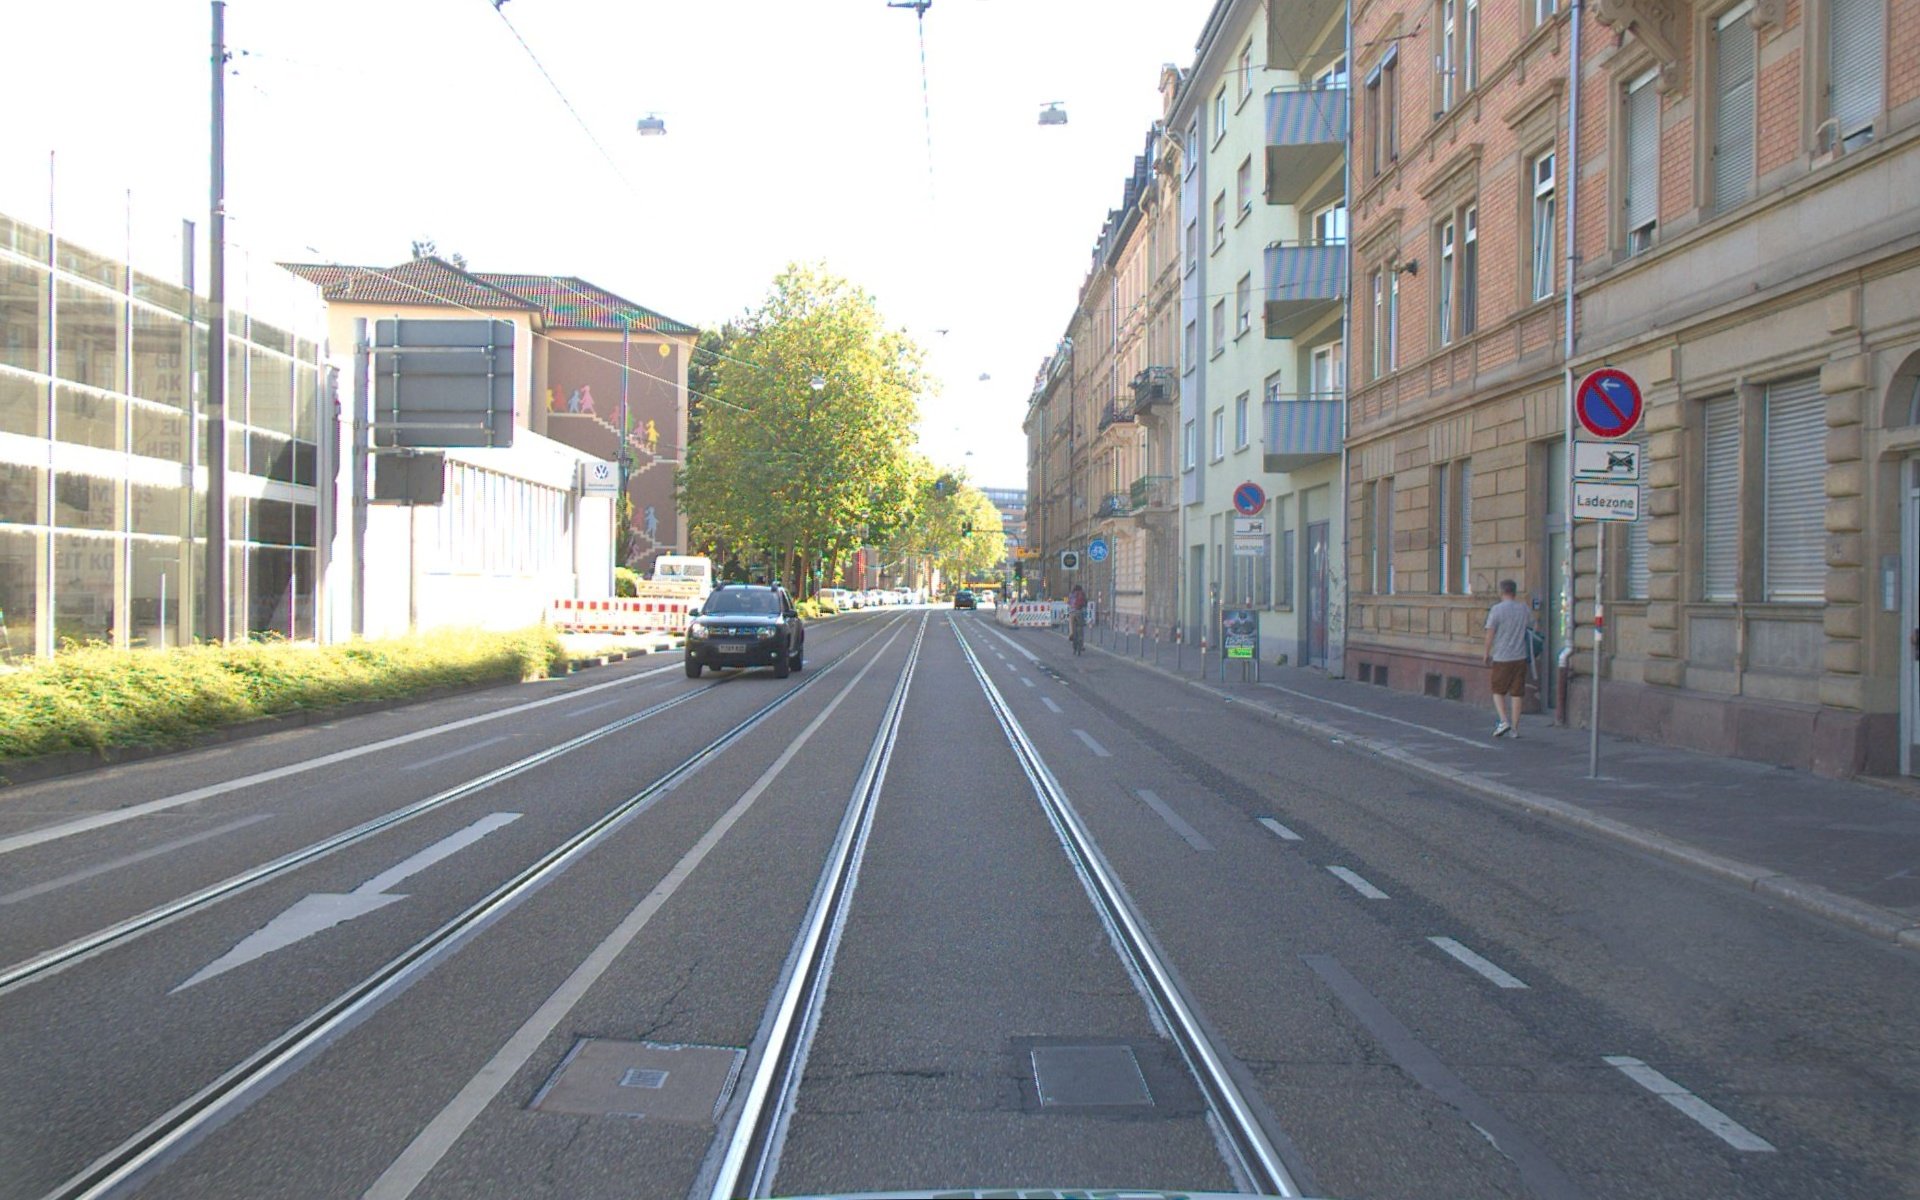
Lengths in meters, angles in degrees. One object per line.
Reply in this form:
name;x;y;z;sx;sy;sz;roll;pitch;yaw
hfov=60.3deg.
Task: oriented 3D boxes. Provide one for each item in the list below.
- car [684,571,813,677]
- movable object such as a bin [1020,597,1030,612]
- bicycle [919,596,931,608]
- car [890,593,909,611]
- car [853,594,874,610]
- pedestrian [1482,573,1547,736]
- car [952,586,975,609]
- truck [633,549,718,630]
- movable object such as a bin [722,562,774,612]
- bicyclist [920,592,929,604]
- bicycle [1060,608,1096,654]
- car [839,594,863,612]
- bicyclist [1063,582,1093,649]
car;-3.766;0.417;30.050;1.723;1.726;4.143;2;0;0
movable object such as a bin;4.862;0.325;123.981;0.660;1.054;0.813;1;1;-1
bicycle;-4.636;0.252;218.502;1.208;1.600;2.899;2;-1;6
car;-7.255;0.235;198.328;2.016;2.088;4.044;2;-1;2
car;-9.791;0.202;167.483;1.712;1.521;4.044;2;0;2
pedestrian;6.001;0.583;17.918;0.541;1.730;0.474;-1;-1;5
car;0.328;-0.205;151.369;1.953;2.049;3.999;2;-1;0
truck;-10.858;-0.362;63.599;2.488;2.879;6.370;2;0;-4
movable object such as a bin;-12.095;-0.732;94.671;2.446;2.691;5.985;2;0;-3
bicyclist;-4.668;-0.245;218.480;1.054;1.452;1.147;2;-1;7
bicycle;3.100;0.798;43.630;0.667;1.134;2.706;2;0;-1
car;-9.503;0.265;144.540;1.712;1.536;4.044;2;0;2
bicyclist;3.117;0.405;43.719;0.653;1.726;1.043;2;-1;-1
